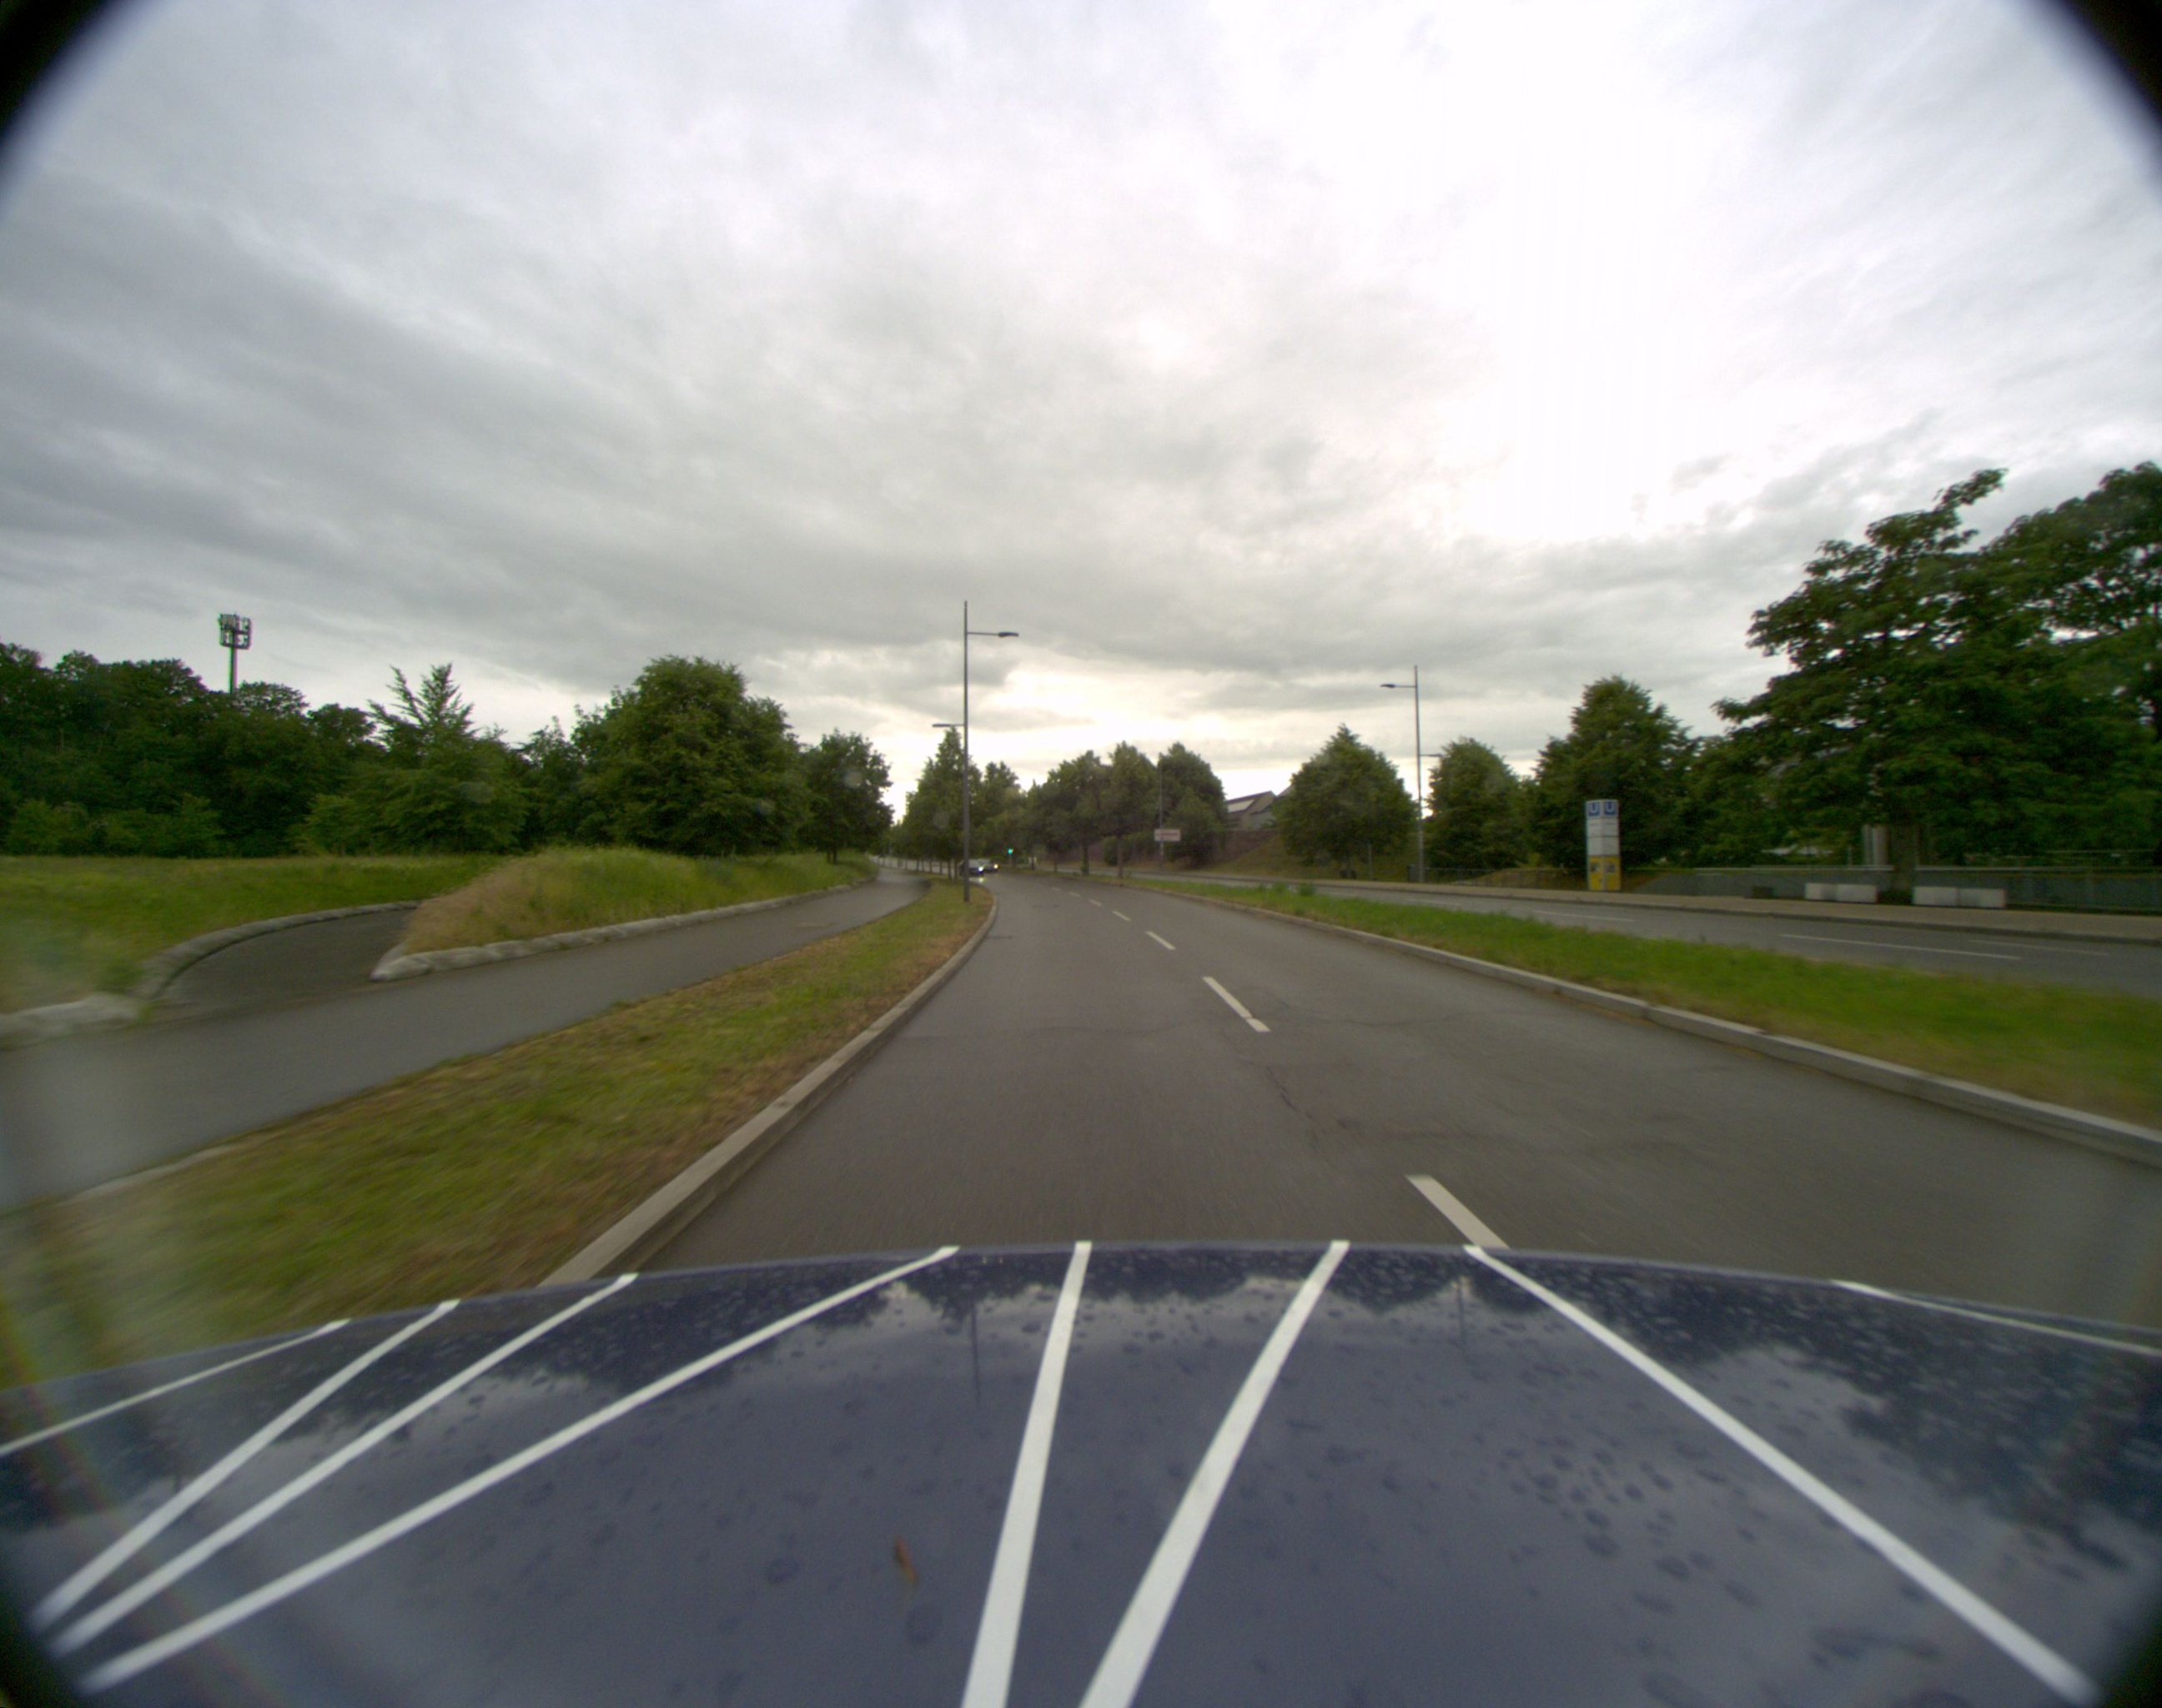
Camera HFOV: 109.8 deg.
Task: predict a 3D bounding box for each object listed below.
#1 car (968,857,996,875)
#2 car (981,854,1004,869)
[{"bbox_3d":[-8.590,1.055,65.500,1.992,1.391,4.173,-1,-2,-13],"label":"car"},{"bbox_3d":[-9.036,0.729,77.290,1.812,1.421,4.192,-1,0,-14],"label":"car"}]
